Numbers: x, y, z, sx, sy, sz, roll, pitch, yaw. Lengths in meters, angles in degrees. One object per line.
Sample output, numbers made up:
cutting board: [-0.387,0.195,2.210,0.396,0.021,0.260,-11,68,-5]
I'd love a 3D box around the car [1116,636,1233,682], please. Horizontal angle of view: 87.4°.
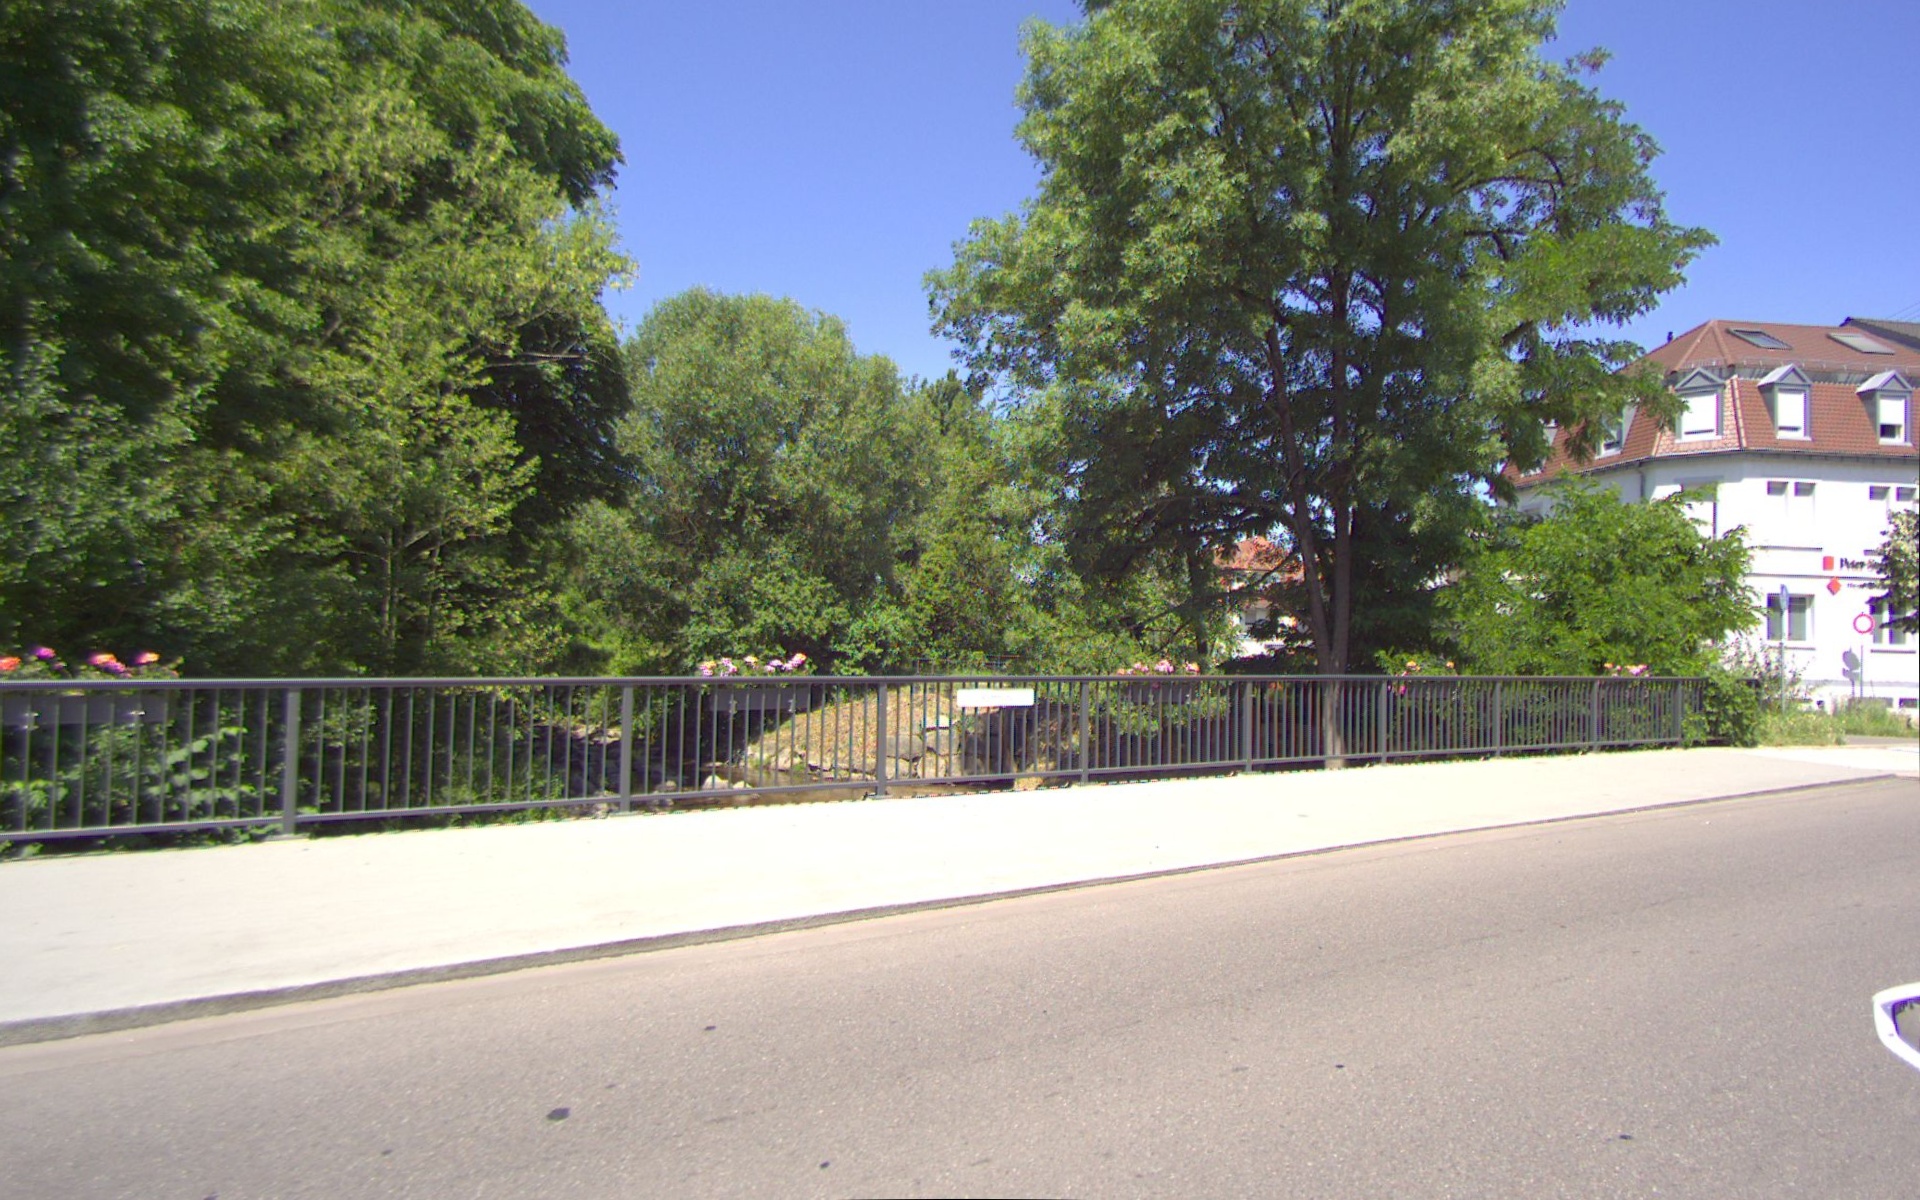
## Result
car: [8.060,2.208,37.976,1.983,1.563,3.955,2,-2,-39]

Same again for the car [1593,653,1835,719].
car: [19.195,2.138,25.766,1.984,1.374,4.655,4,-3,-39]
